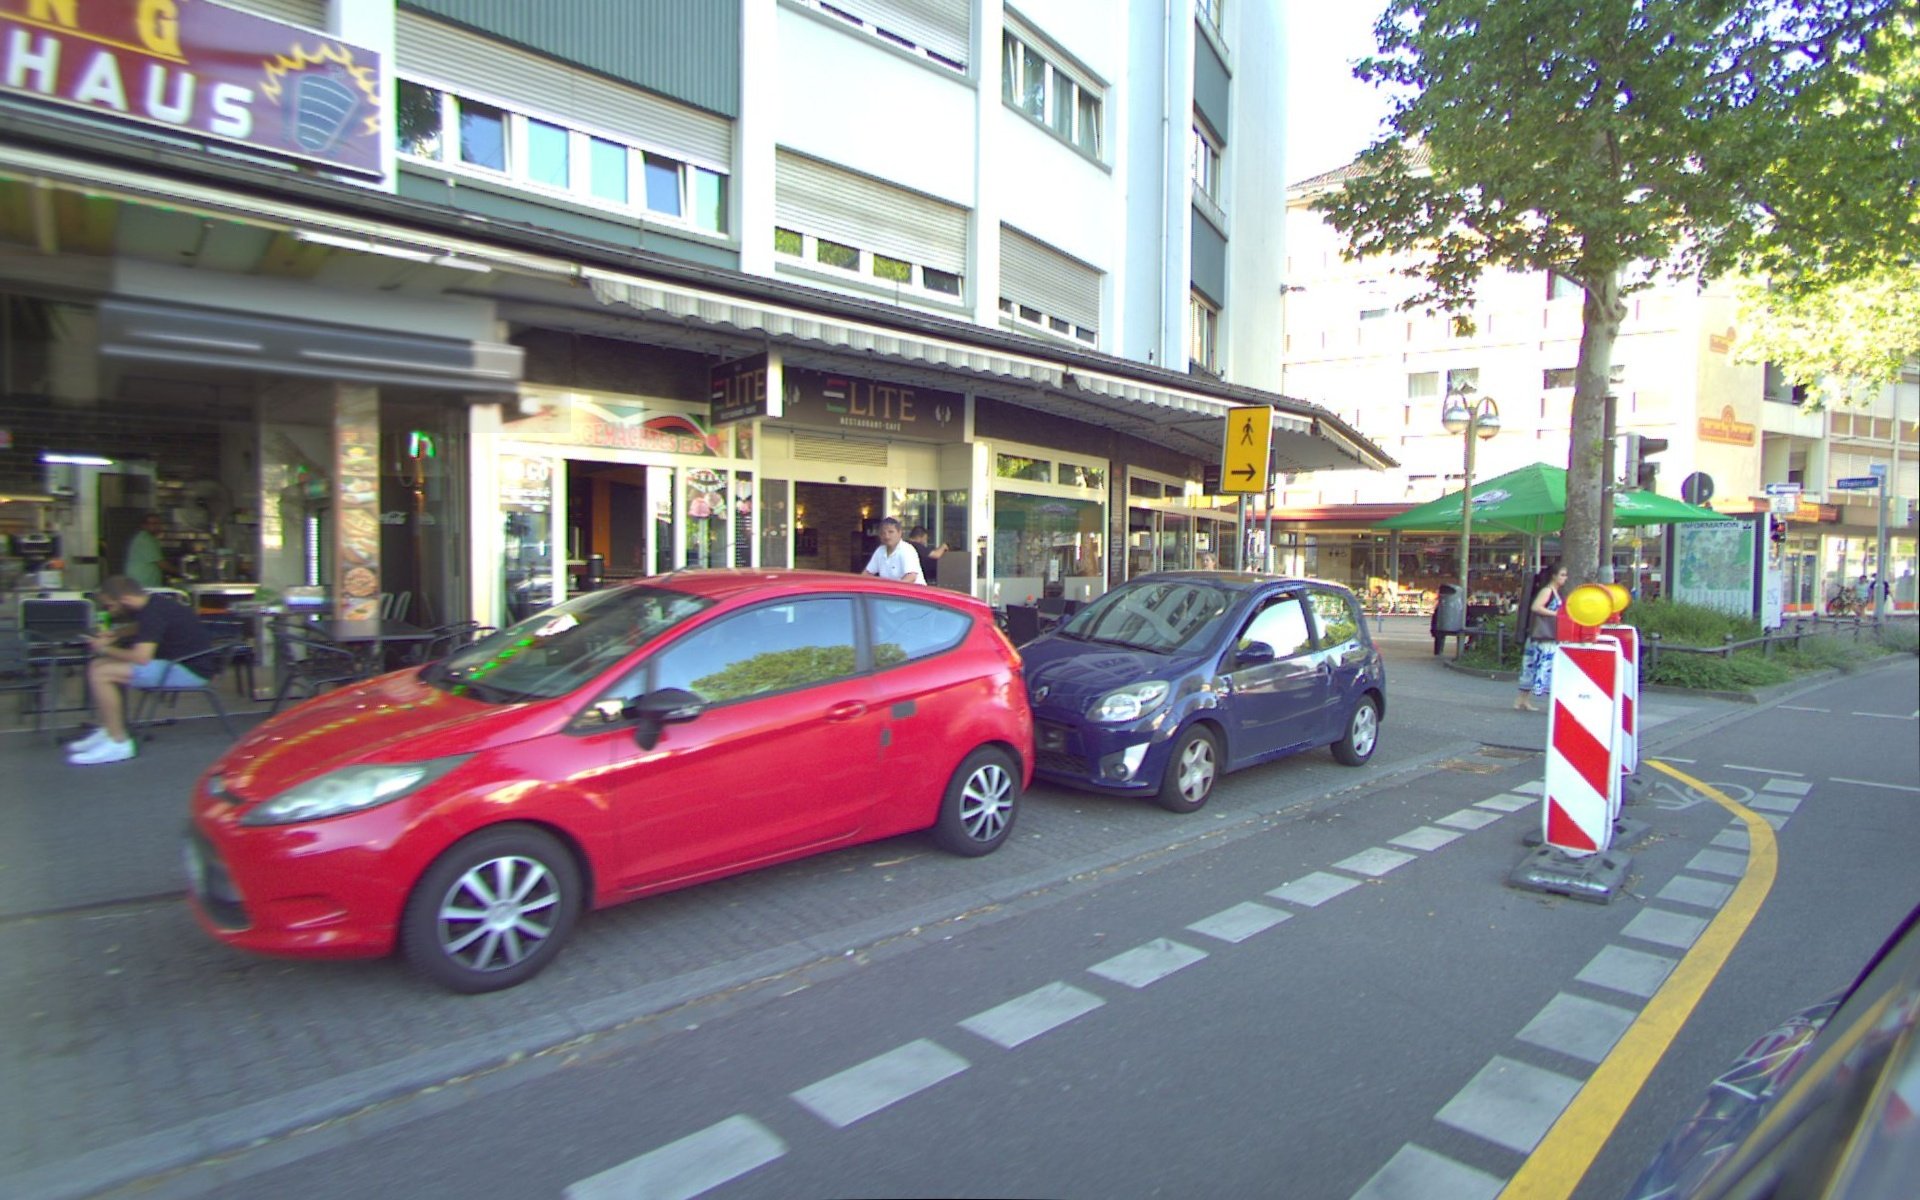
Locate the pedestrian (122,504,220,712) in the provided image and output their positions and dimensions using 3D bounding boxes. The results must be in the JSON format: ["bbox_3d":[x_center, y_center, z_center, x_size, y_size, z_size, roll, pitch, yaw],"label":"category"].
[{"bbox_3d":[-6.287,0.048,8.086,0.588,1.566,0.702,-1,2,-37],"label":"pedestrian"}]

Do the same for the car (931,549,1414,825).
[{"bbox_3d":[1.715,0.433,7.587,3.551,1.485,1.769,-1,6,-43],"label":"car"}]

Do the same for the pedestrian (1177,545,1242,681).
[{"bbox_3d":[3.152,0.143,12.791,0.624,1.657,0.525,2,2,35],"label":"pedestrian"}]

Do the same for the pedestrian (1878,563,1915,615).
[{"bbox_3d":[29.136,-0.352,31.480,0.520,1.605,0.630,0,2,-20],"label":"pedestrian"}]

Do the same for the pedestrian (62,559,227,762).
[{"bbox_3d":[-5.389,0.355,6.695,0.798,1.224,0.654,-1,4,-44],"label":"pedestrian"}]

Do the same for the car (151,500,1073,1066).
[{"bbox_3d":[-1.380,0.433,4.845,3.761,1.614,1.784,-2,6,-44],"label":"car"}]

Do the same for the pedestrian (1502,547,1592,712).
[{"bbox_3d":[6.218,0.275,10.721,0.783,1.666,0.583,-2,3,-42],"label":"pedestrian"}]

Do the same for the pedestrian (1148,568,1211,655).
[{"bbox_3d":[3.468,0.167,16.050,0.685,1.323,0.793,0,2,-12],"label":"pedestrian"}]

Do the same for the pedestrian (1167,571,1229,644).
[{"bbox_3d":[4.024,0.110,17.138,0.776,1.207,0.648,-1,2,-34],"label":"pedestrian"}]

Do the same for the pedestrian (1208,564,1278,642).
[{"bbox_3d":[4.509,0.034,16.179,0.685,1.207,0.881,0,2,-17],"label":"pedestrian"}]

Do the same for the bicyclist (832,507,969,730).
[{"bbox_3d":[-0.524,0.122,8.927,0.910,1.848,0.752,-1,4,-42],"label":"bicyclist"}]

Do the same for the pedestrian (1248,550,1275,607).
[{"bbox_3d":[10.699,-0.783,35.976,0.636,1.983,0.890,0,2,-2],"label":"pedestrian"}]

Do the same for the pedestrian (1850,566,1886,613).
[{"bbox_3d":[28.776,-0.332,32.070,0.520,1.455,0.630,0,2,-20],"label":"pedestrian"}]

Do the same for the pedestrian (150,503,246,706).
[{"bbox_3d":[-6.195,0.021,8.236,0.588,1.560,0.702,-1,2,-37],"label":"pedestrian"}]

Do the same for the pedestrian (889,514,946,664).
[{"bbox_3d":[-0.524,-0.150,12.478,0.547,1.800,0.395,-2,5,-42],"label":"pedestrian"}]

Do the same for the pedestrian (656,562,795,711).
[{"bbox_3d":[-2.300,0.308,9.886,0.937,1.352,1.069,-1,2,-41],"label":"pedestrian"}]

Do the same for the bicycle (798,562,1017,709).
[{"bbox_3d":[-0.431,0.277,9.033,1.854,1.143,0.751,0,4,-42],"label":"bicycle"}]
